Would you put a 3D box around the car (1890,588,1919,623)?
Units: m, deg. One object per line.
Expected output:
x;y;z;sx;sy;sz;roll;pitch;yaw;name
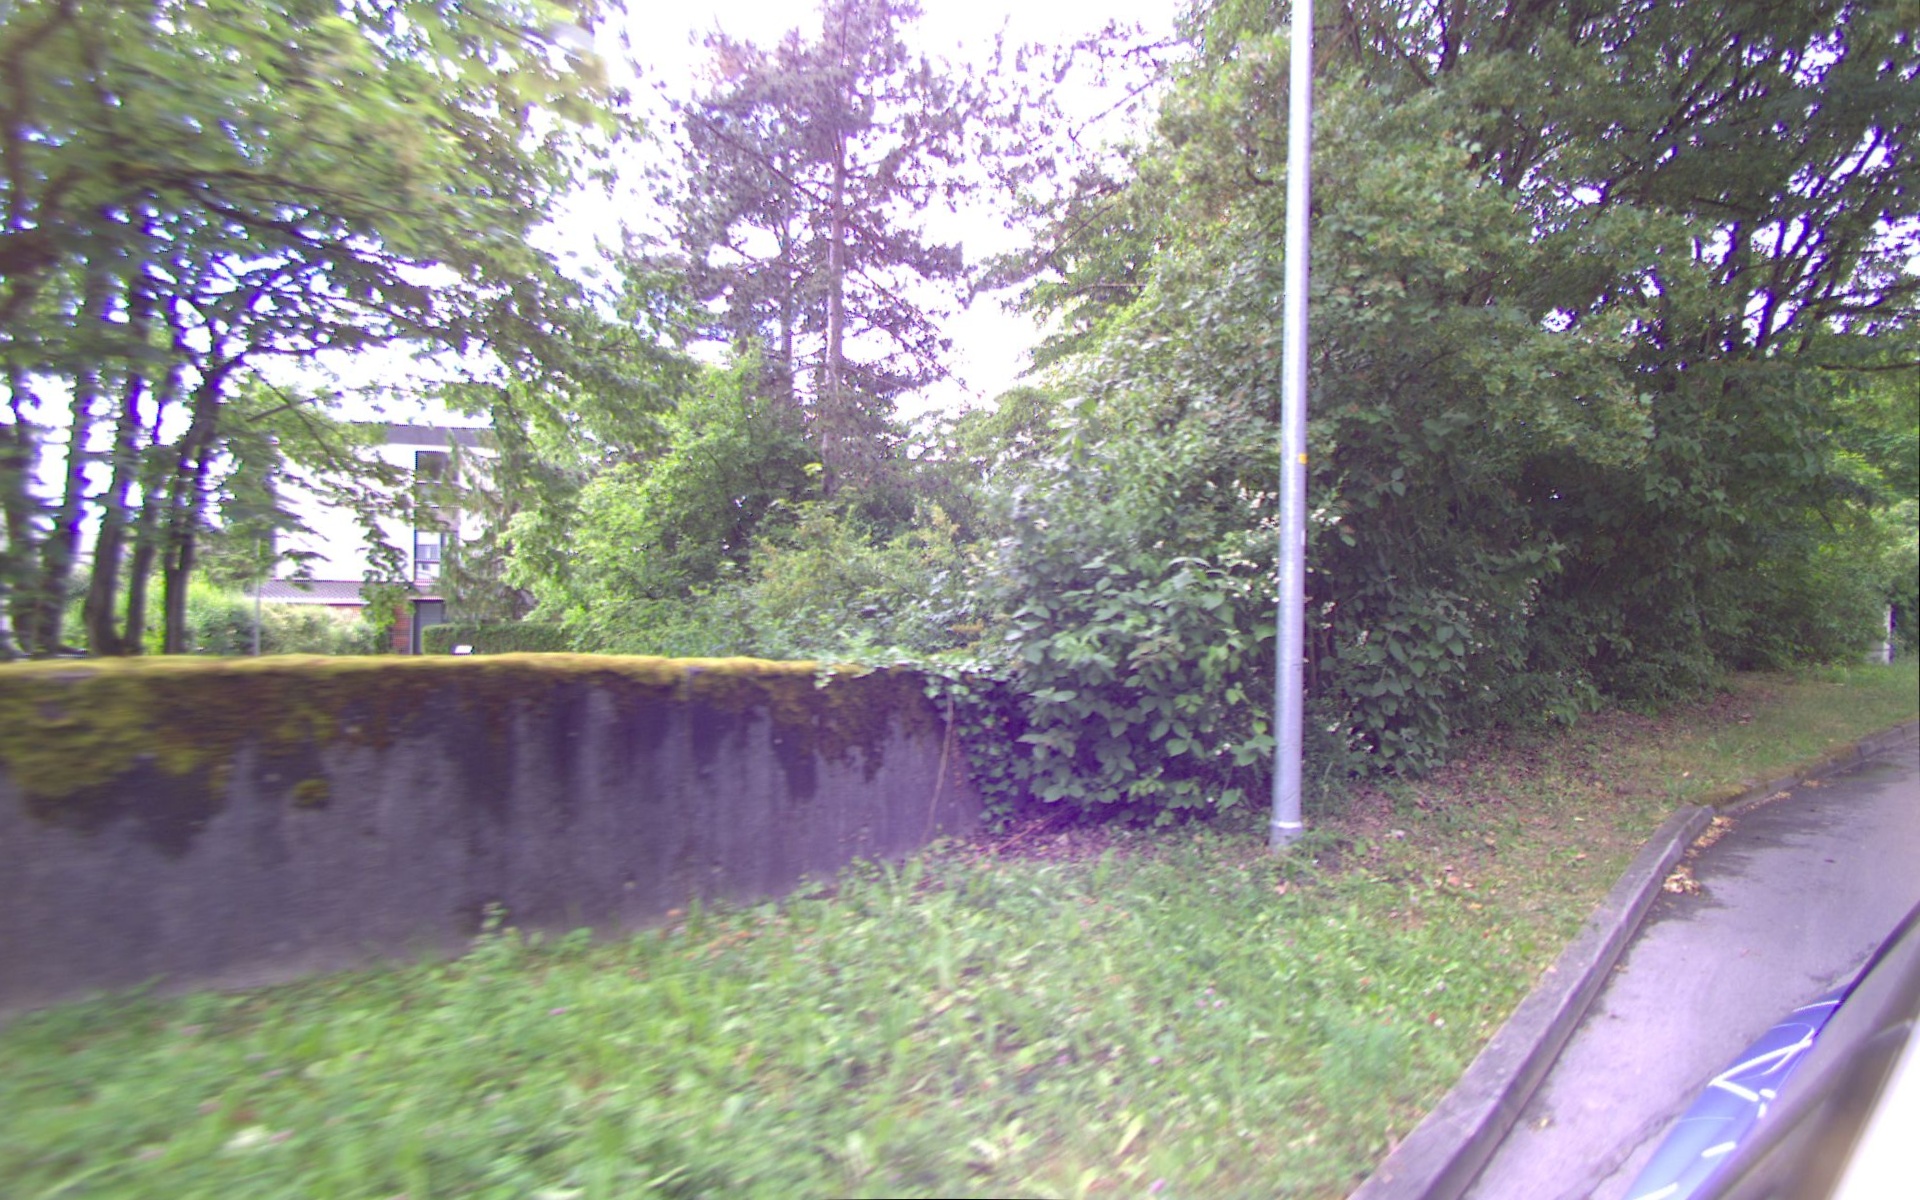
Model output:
50.006;0.237;52.183;1.981;1.693;3.963;-2;0;27;car
